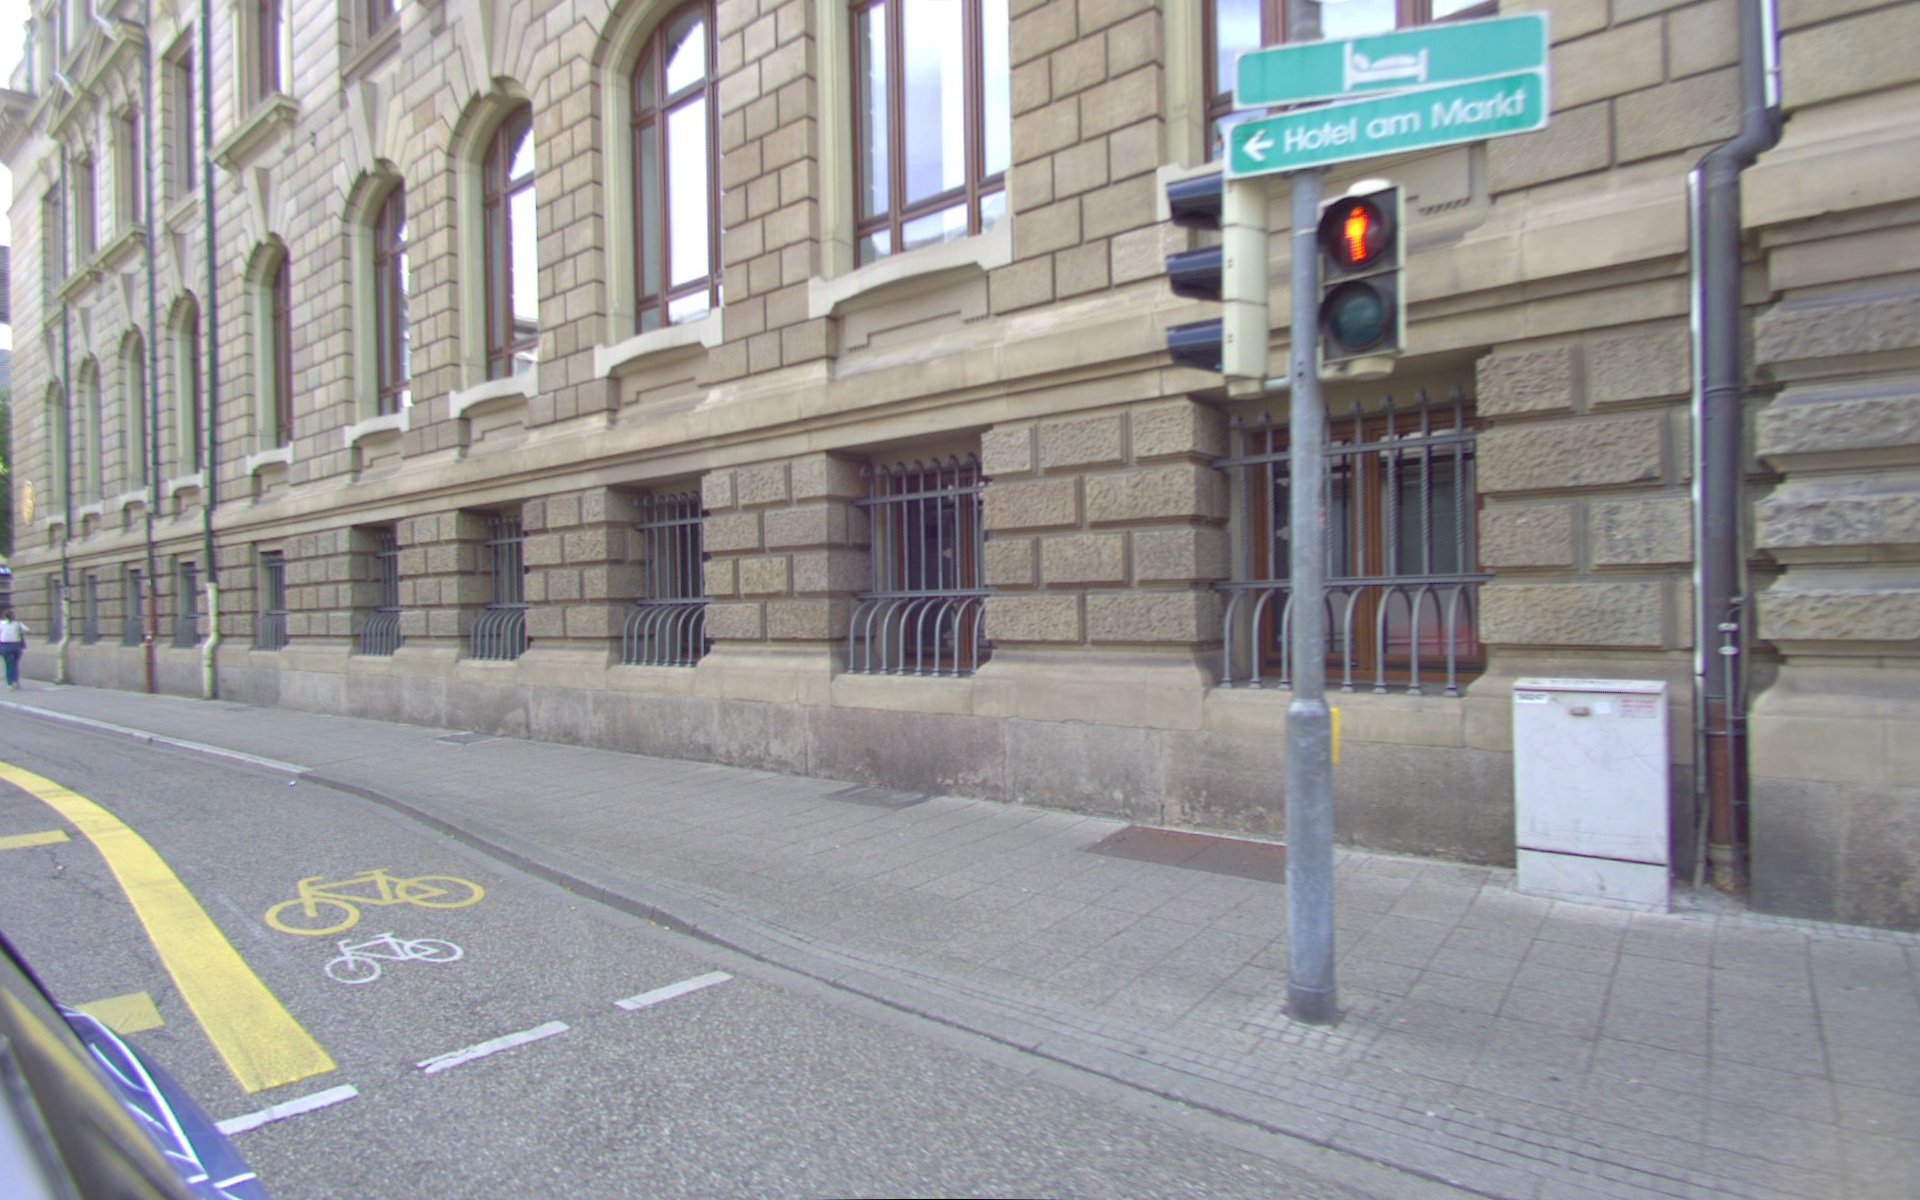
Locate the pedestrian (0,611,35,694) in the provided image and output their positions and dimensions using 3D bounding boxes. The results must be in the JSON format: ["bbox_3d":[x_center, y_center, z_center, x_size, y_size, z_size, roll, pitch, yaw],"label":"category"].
[{"bbox_3d":[-21.967,1.199,23.362,1.046,1.833,0.657,-1,2,38],"label":"pedestrian"}]

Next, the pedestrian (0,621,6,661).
[{"bbox_3d":[-41.934,1.794,43.604,0.817,1.732,1.016,-1,2,37],"label":"pedestrian"}]
